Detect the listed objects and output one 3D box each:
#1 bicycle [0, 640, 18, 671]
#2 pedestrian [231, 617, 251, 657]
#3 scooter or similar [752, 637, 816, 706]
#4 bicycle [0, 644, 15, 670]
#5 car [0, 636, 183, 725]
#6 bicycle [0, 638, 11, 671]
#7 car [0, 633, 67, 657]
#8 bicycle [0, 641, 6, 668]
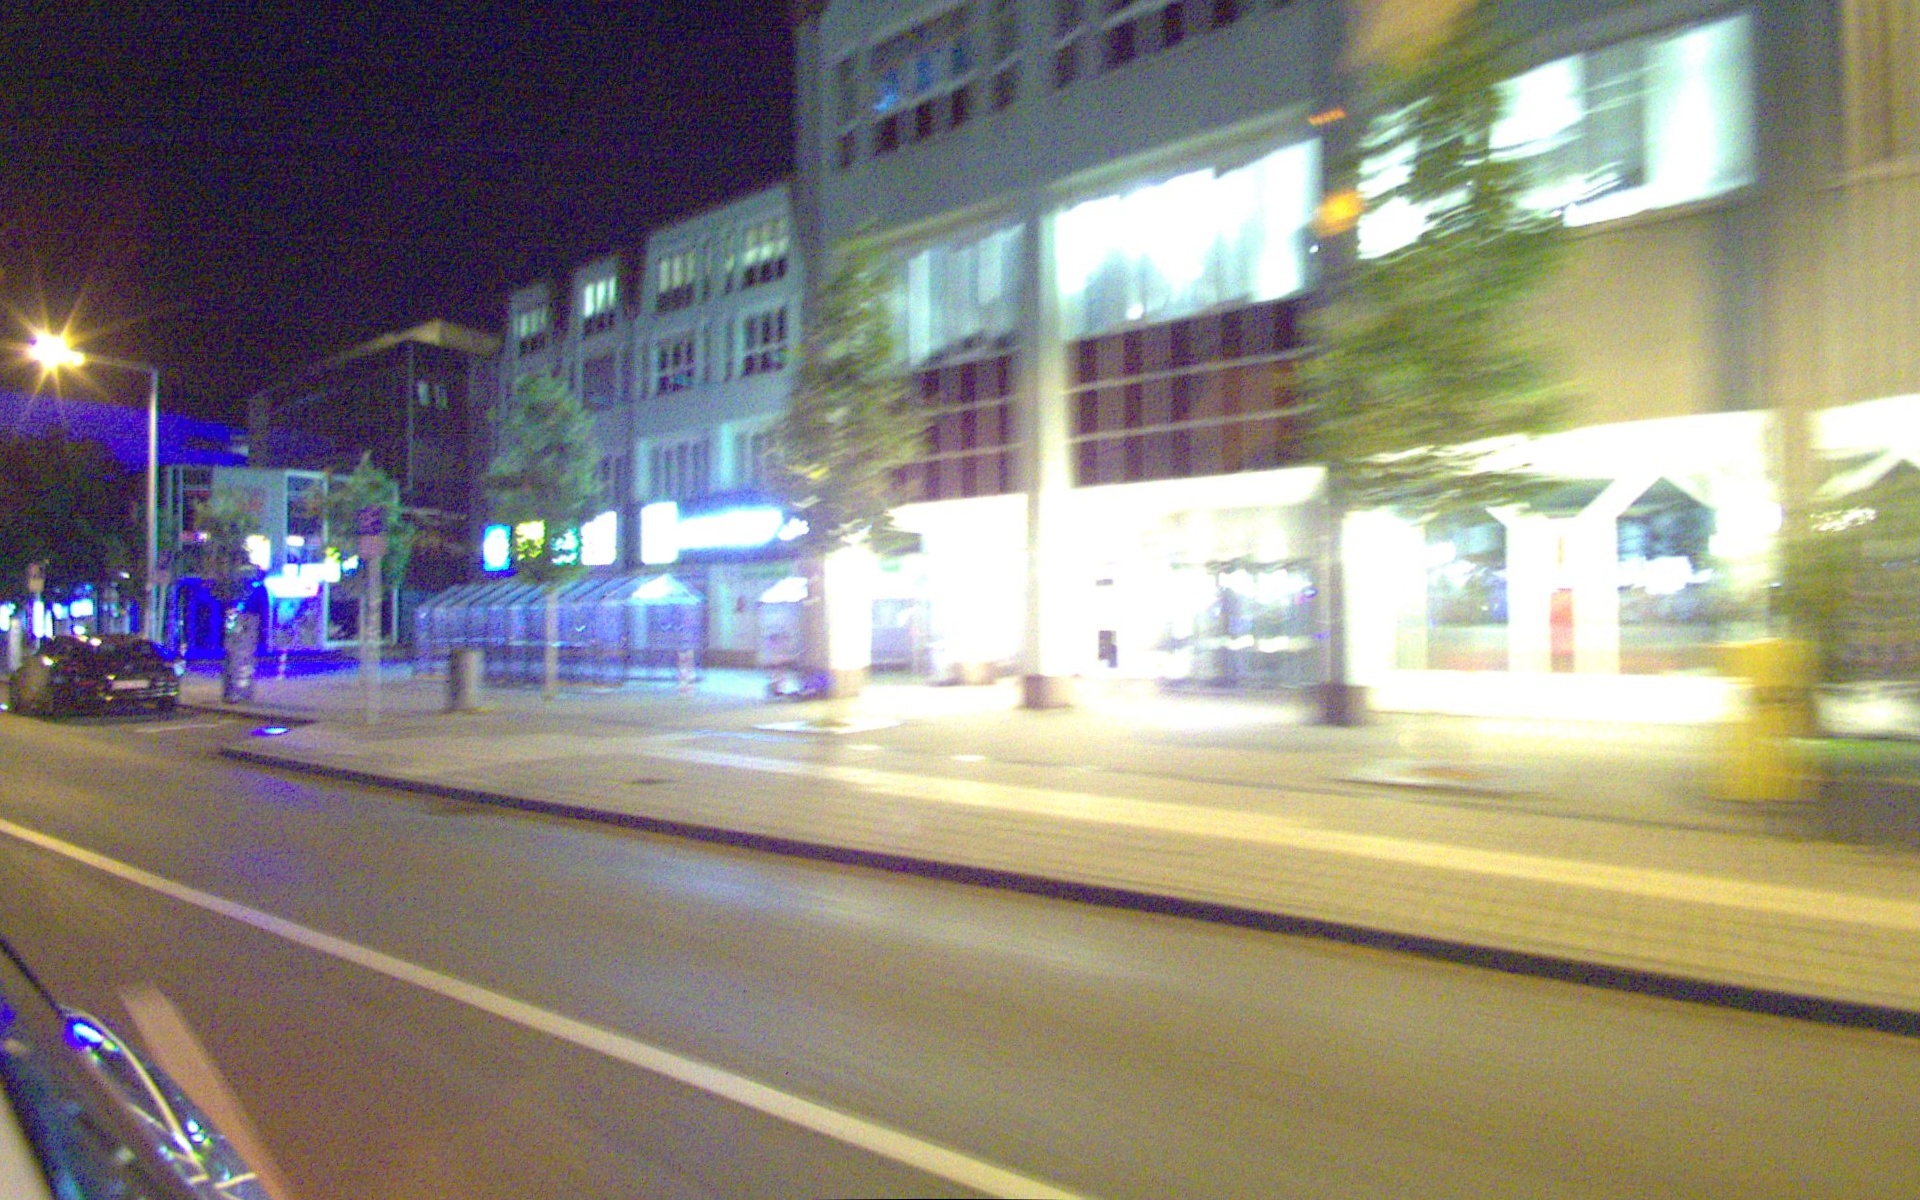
[{"bbox_3d":[-35.948,2.050,37.217,0.531,1.175,1.834,-2,-2,36],"label":"bicycle"},{"bbox_3d":[-29.411,1.514,41.390,0.631,1.649,0.473,-2,-2,37],"label":"pedestrian"},{"bbox_3d":[-3.253,1.292,18.675,1.342,1.230,0.383,-2,-2,39],"label":"scooter or similar"},{"bbox_3d":[-36.381,2.120,37.554,0.500,0.975,1.834,-2,-2,36],"label":"bicycle"},{"bbox_3d":[-16.253,1.414,18.855,4.488,1.424,1.725,-2,-1,37],"label":"car"},{"bbox_3d":[-37.104,2.053,38.179,0.531,1.263,1.834,-2,-2,36],"label":"bicycle"},{"bbox_3d":[-57.939,2.738,62.206,1.799,1.408,4.290,-1,-2,35],"label":"car"},{"bbox_3d":[-37.702,2.130,38.609,0.531,1.043,1.834,-2,-1,36],"label":"bicycle"}]
